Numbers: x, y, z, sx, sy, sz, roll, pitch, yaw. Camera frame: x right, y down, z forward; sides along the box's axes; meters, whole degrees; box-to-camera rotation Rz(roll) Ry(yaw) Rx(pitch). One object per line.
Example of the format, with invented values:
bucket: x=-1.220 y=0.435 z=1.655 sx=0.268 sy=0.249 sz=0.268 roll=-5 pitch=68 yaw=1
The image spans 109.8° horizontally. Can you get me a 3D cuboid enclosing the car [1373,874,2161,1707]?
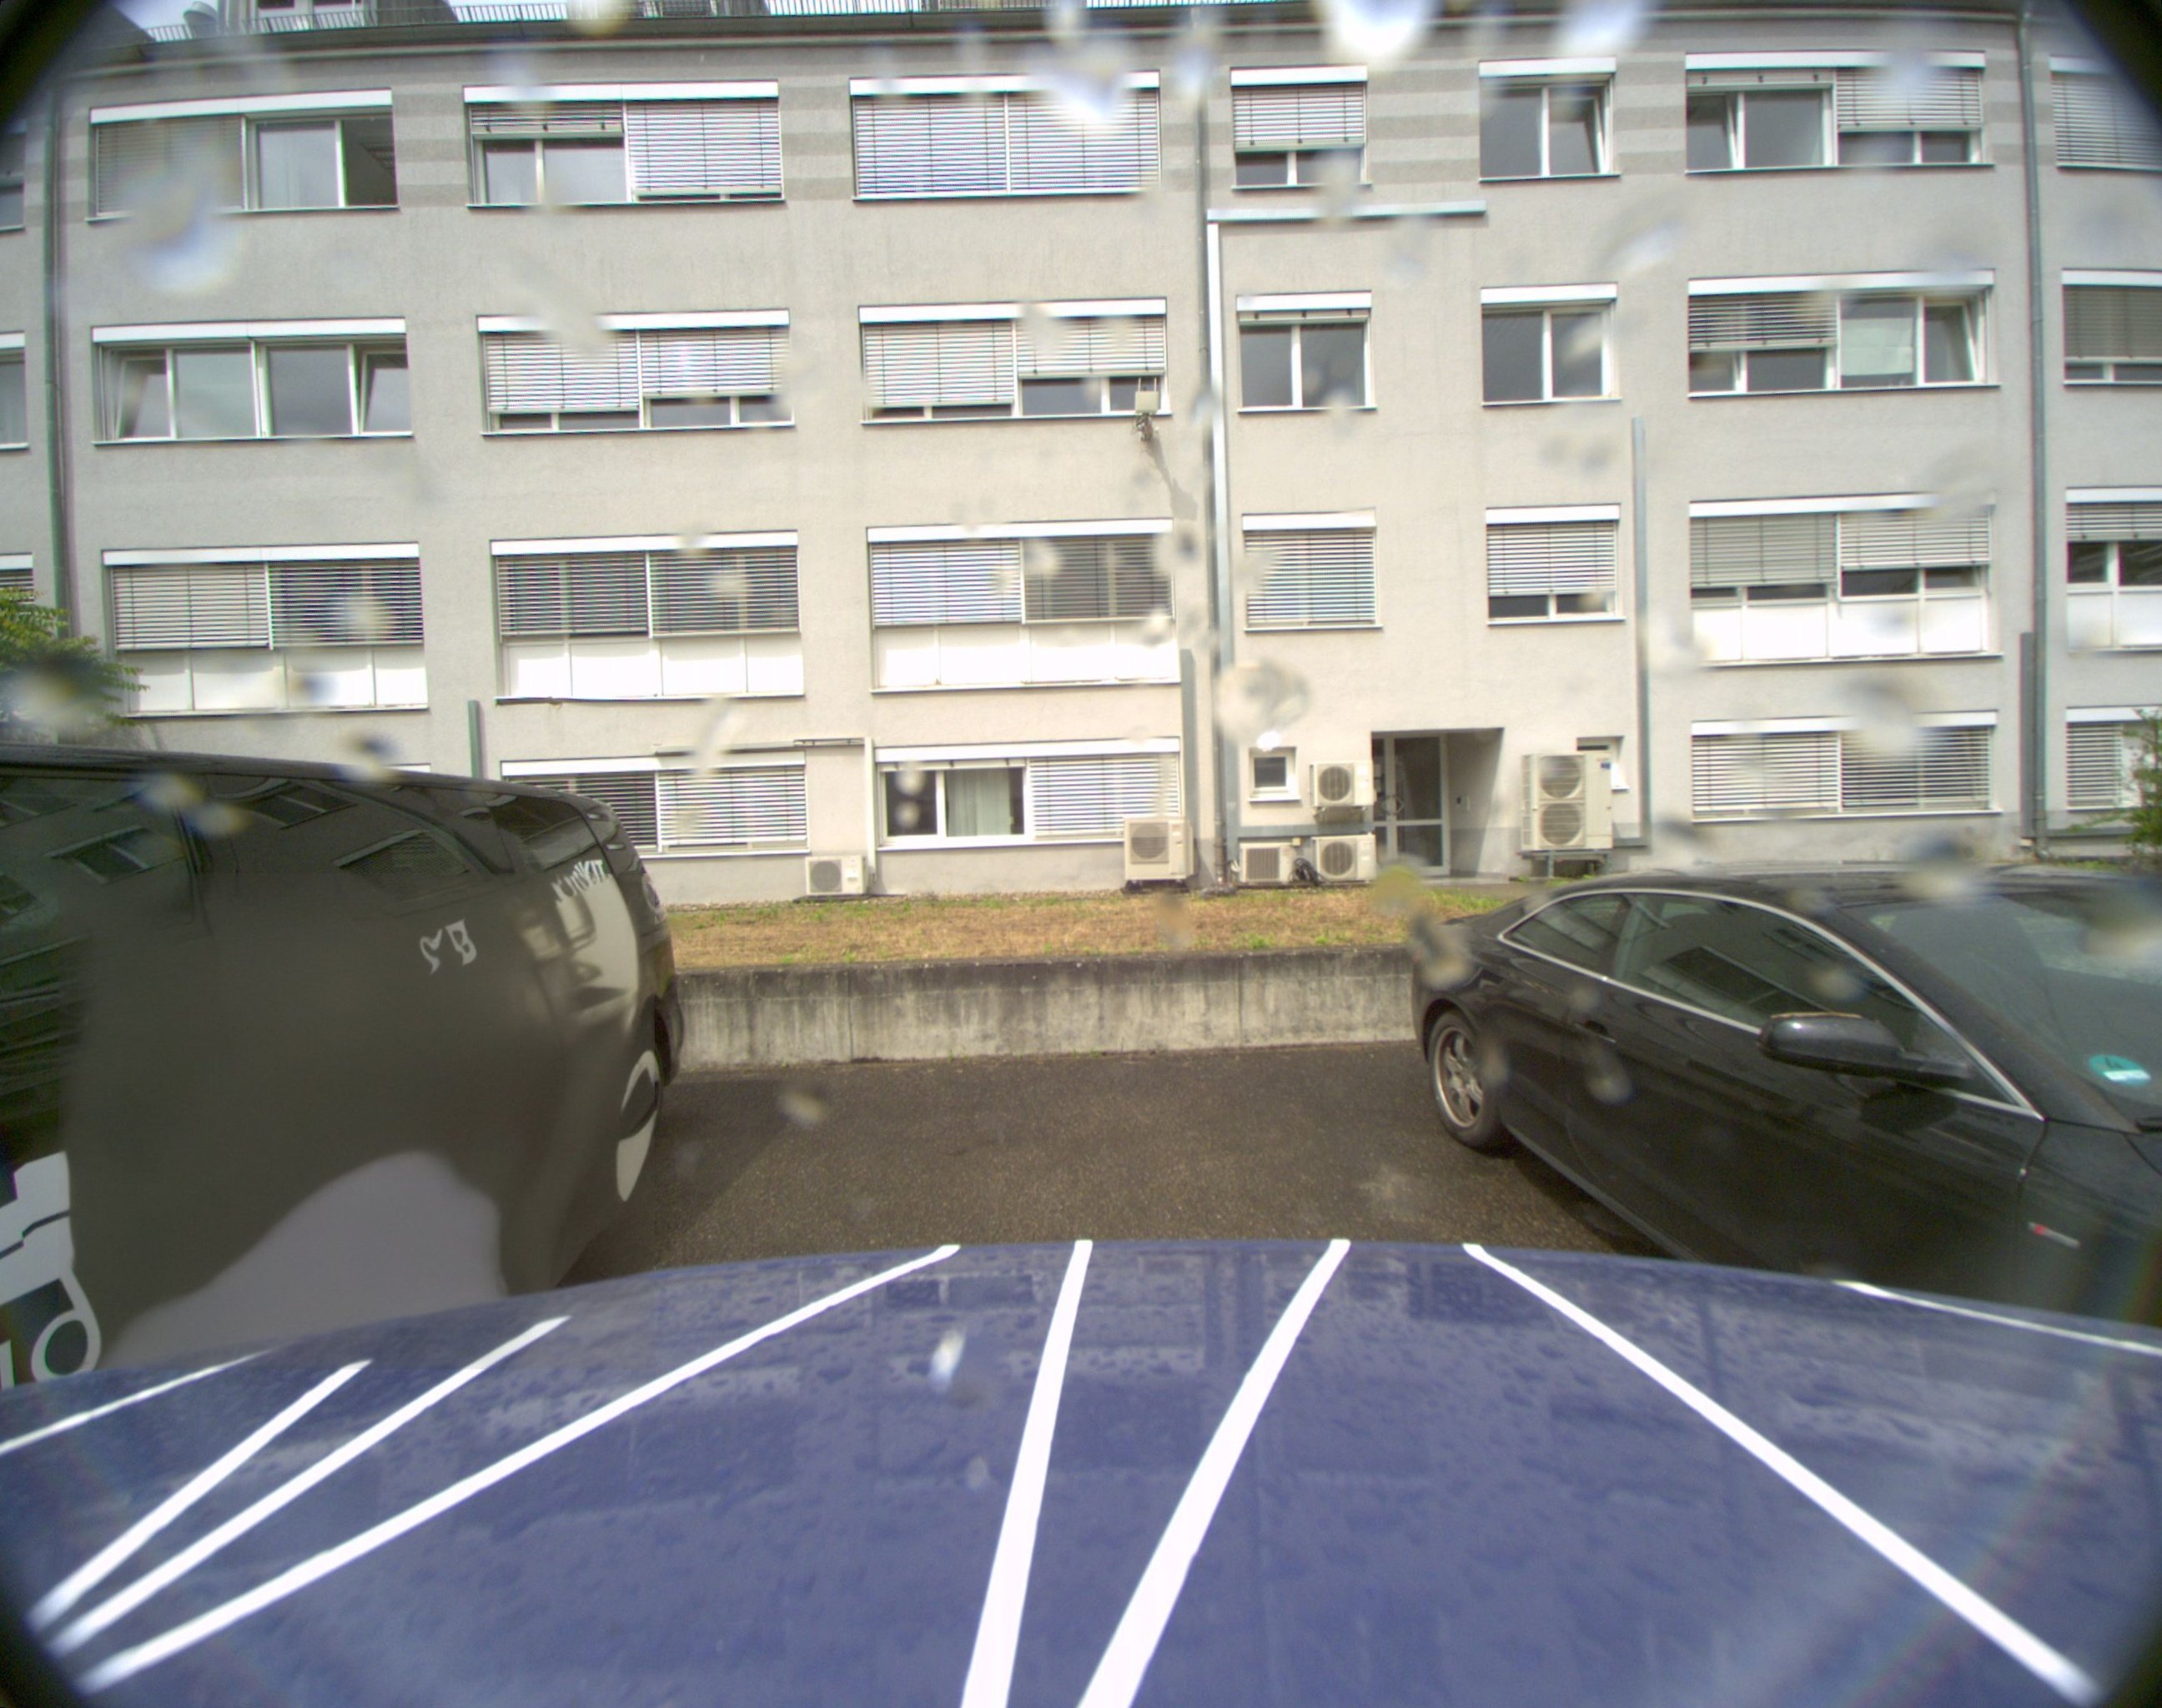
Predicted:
car: x=2.567 y=0.899 z=2.105 sx=1.762 sy=1.344 sz=4.527 roll=-3 pitch=2 yaw=0

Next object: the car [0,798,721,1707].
car: x=-3.080 y=0.838 z=2.016 sx=1.969 sy=1.854 sz=4.746 roll=-2 pitch=2 yaw=-1
